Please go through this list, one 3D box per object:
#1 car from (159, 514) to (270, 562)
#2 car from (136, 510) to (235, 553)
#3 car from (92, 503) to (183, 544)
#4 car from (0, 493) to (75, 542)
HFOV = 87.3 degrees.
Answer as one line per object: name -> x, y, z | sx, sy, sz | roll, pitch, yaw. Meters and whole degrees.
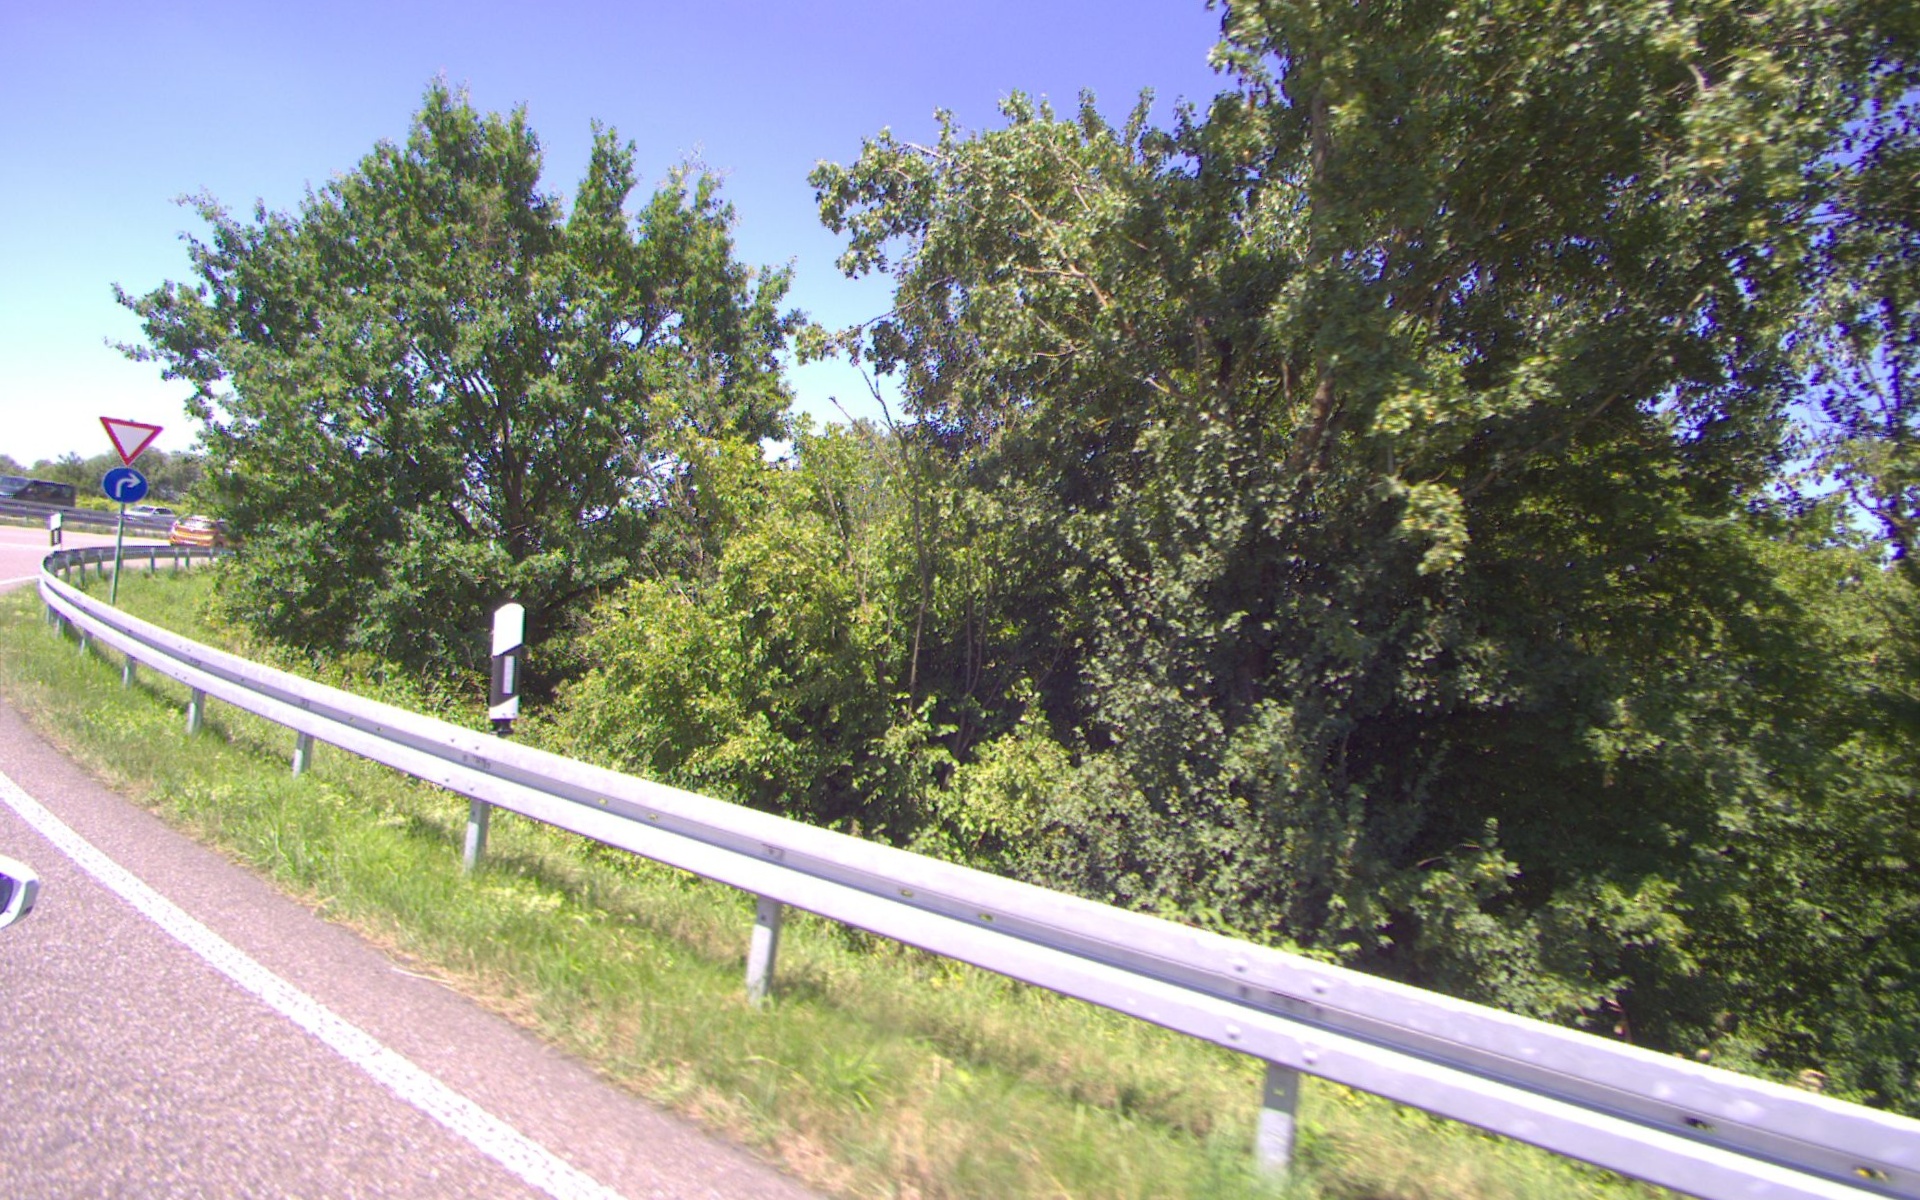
car -> -31.286, -2.552, 42.358 | 1.815, 1.481, 3.997 | 9, -1, -6
car -> -36.991, -3.248, 48.186 | 1.815, 1.468, 3.997 | 9, -1, -6
car -> -54.295, -5.017, 66.548 | 2.173, 1.914, 4.910 | 7, -2, -8
car -> -46.839, -4.166, 49.796 | 2.175, 1.914, 4.906 | 7, -2, -11
